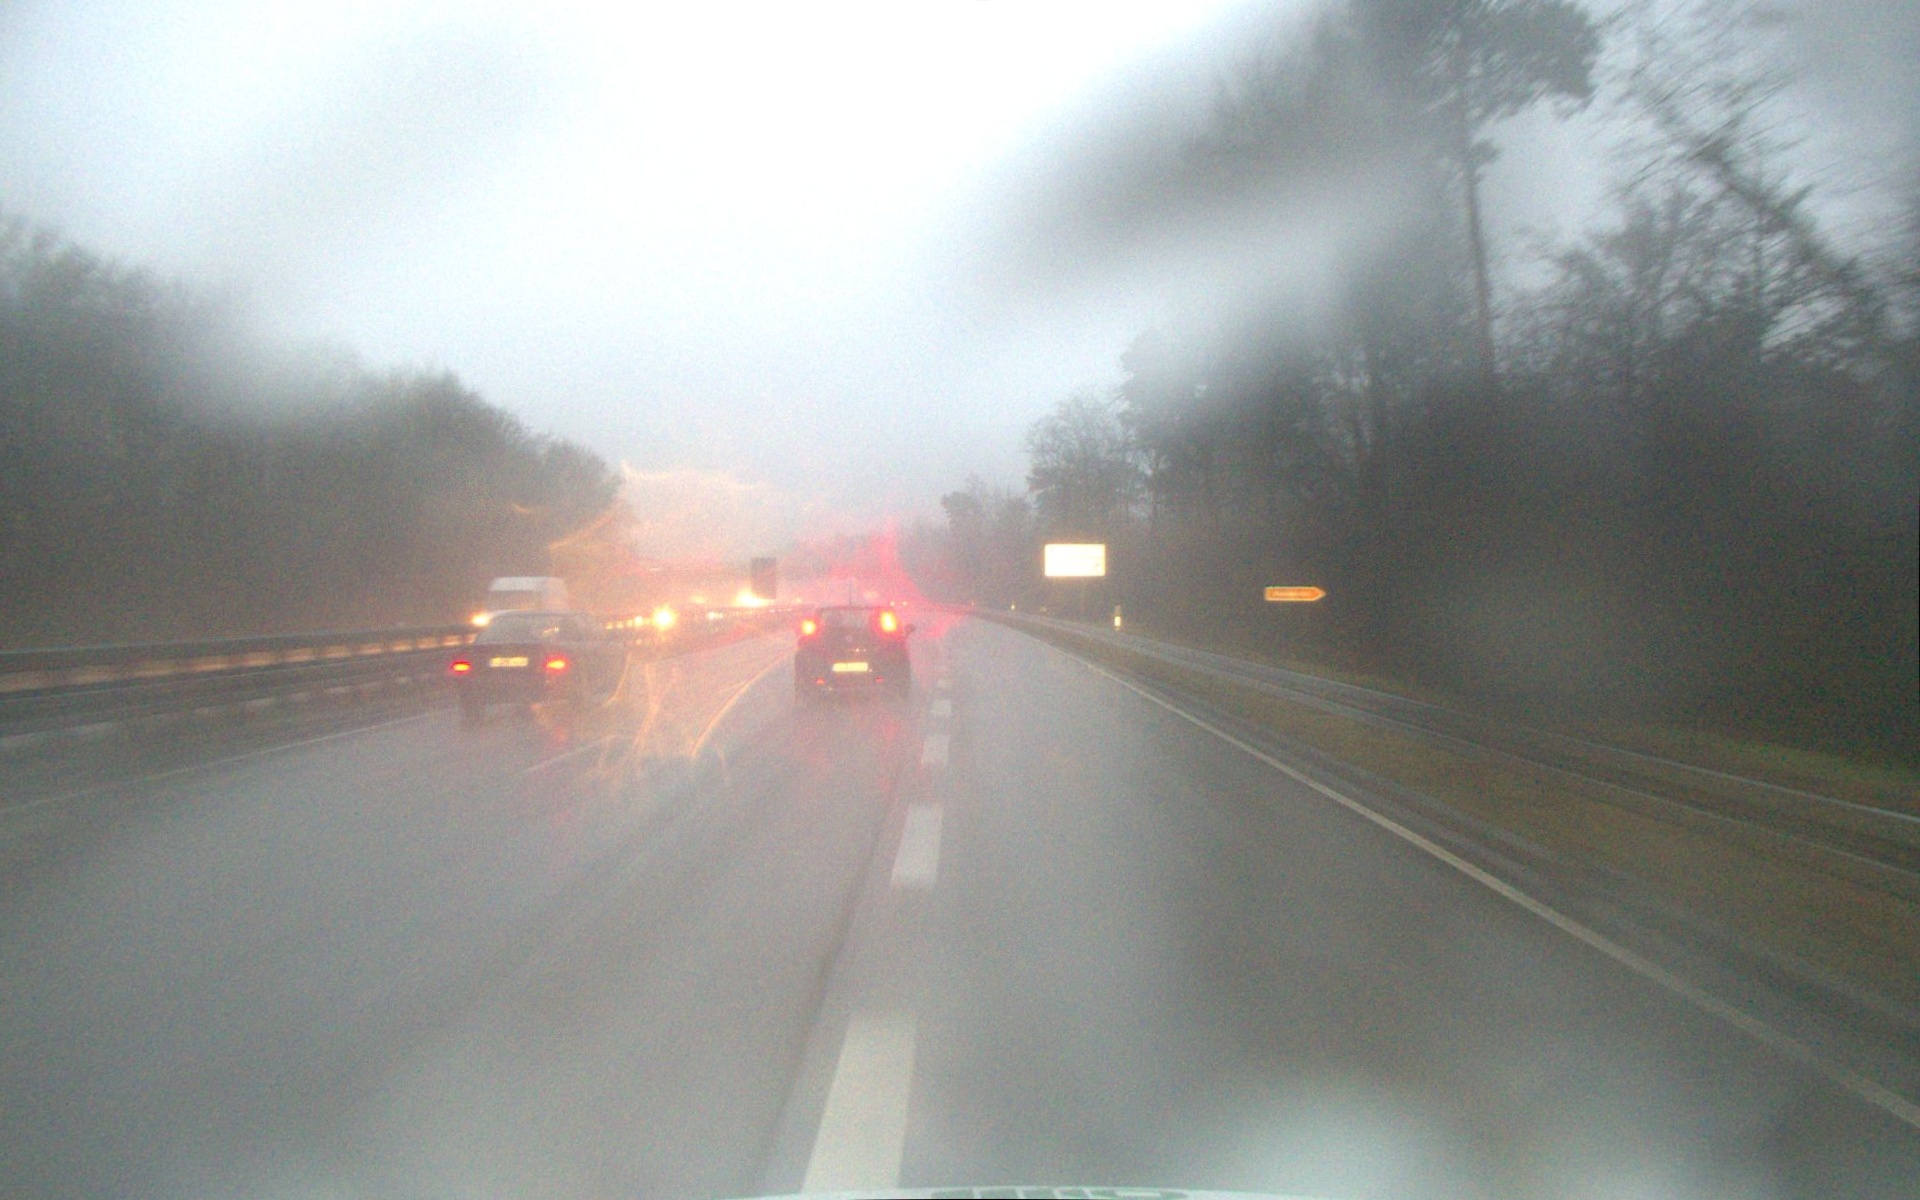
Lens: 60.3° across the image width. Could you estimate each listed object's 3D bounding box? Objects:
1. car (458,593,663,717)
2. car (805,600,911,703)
[{"bbox_3d":[-5.698,0.714,24.183,1.739,1.561,4.703,-3,0,1],"label":"car"},{"bbox_3d":[-1.526,0.744,25.672,1.497,1.440,3.477,2,0,-2],"label":"car"}]
